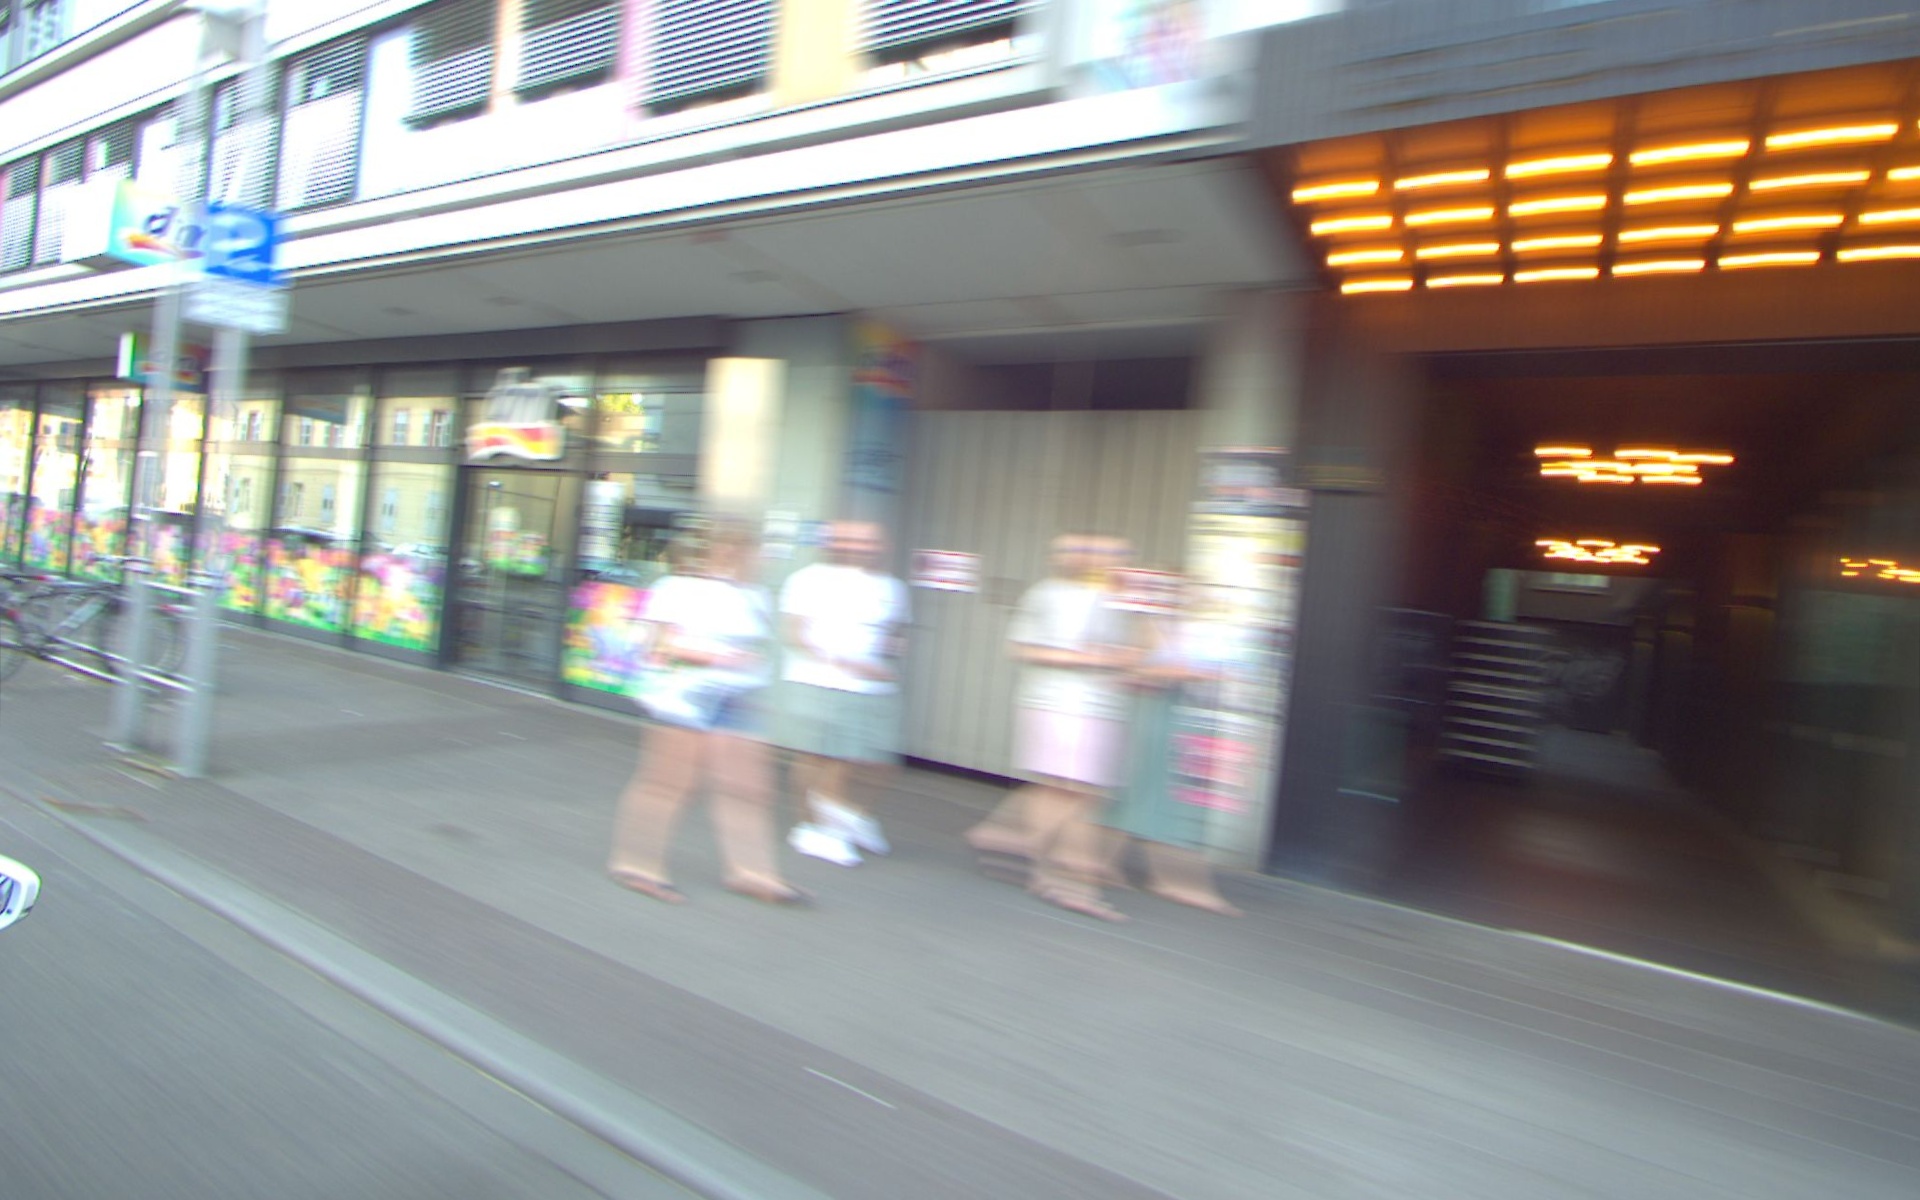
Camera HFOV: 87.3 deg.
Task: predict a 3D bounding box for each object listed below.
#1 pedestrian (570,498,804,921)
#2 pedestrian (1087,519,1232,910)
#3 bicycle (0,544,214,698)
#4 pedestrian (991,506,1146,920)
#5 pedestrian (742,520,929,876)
[{"bbox_3d":[-1.243,0.461,4.612,0.635,1.749,0.604,7,1,31],"label":"pedestrian"},{"bbox_3d":[1.052,0.576,5.273,0.414,1.923,0.452,7,1,31],"label":"pedestrian"},{"bbox_3d":[-7.061,0.150,7.819,0.665,1.091,1.887,7,2,29],"label":"bicycle"},{"bbox_3d":[0.543,0.534,4.984,0.414,1.923,0.455,7,1,31],"label":"pedestrian"},{"bbox_3d":[-0.670,0.503,5.478,0.595,1.775,0.609,7,1,31],"label":"pedestrian"}]
